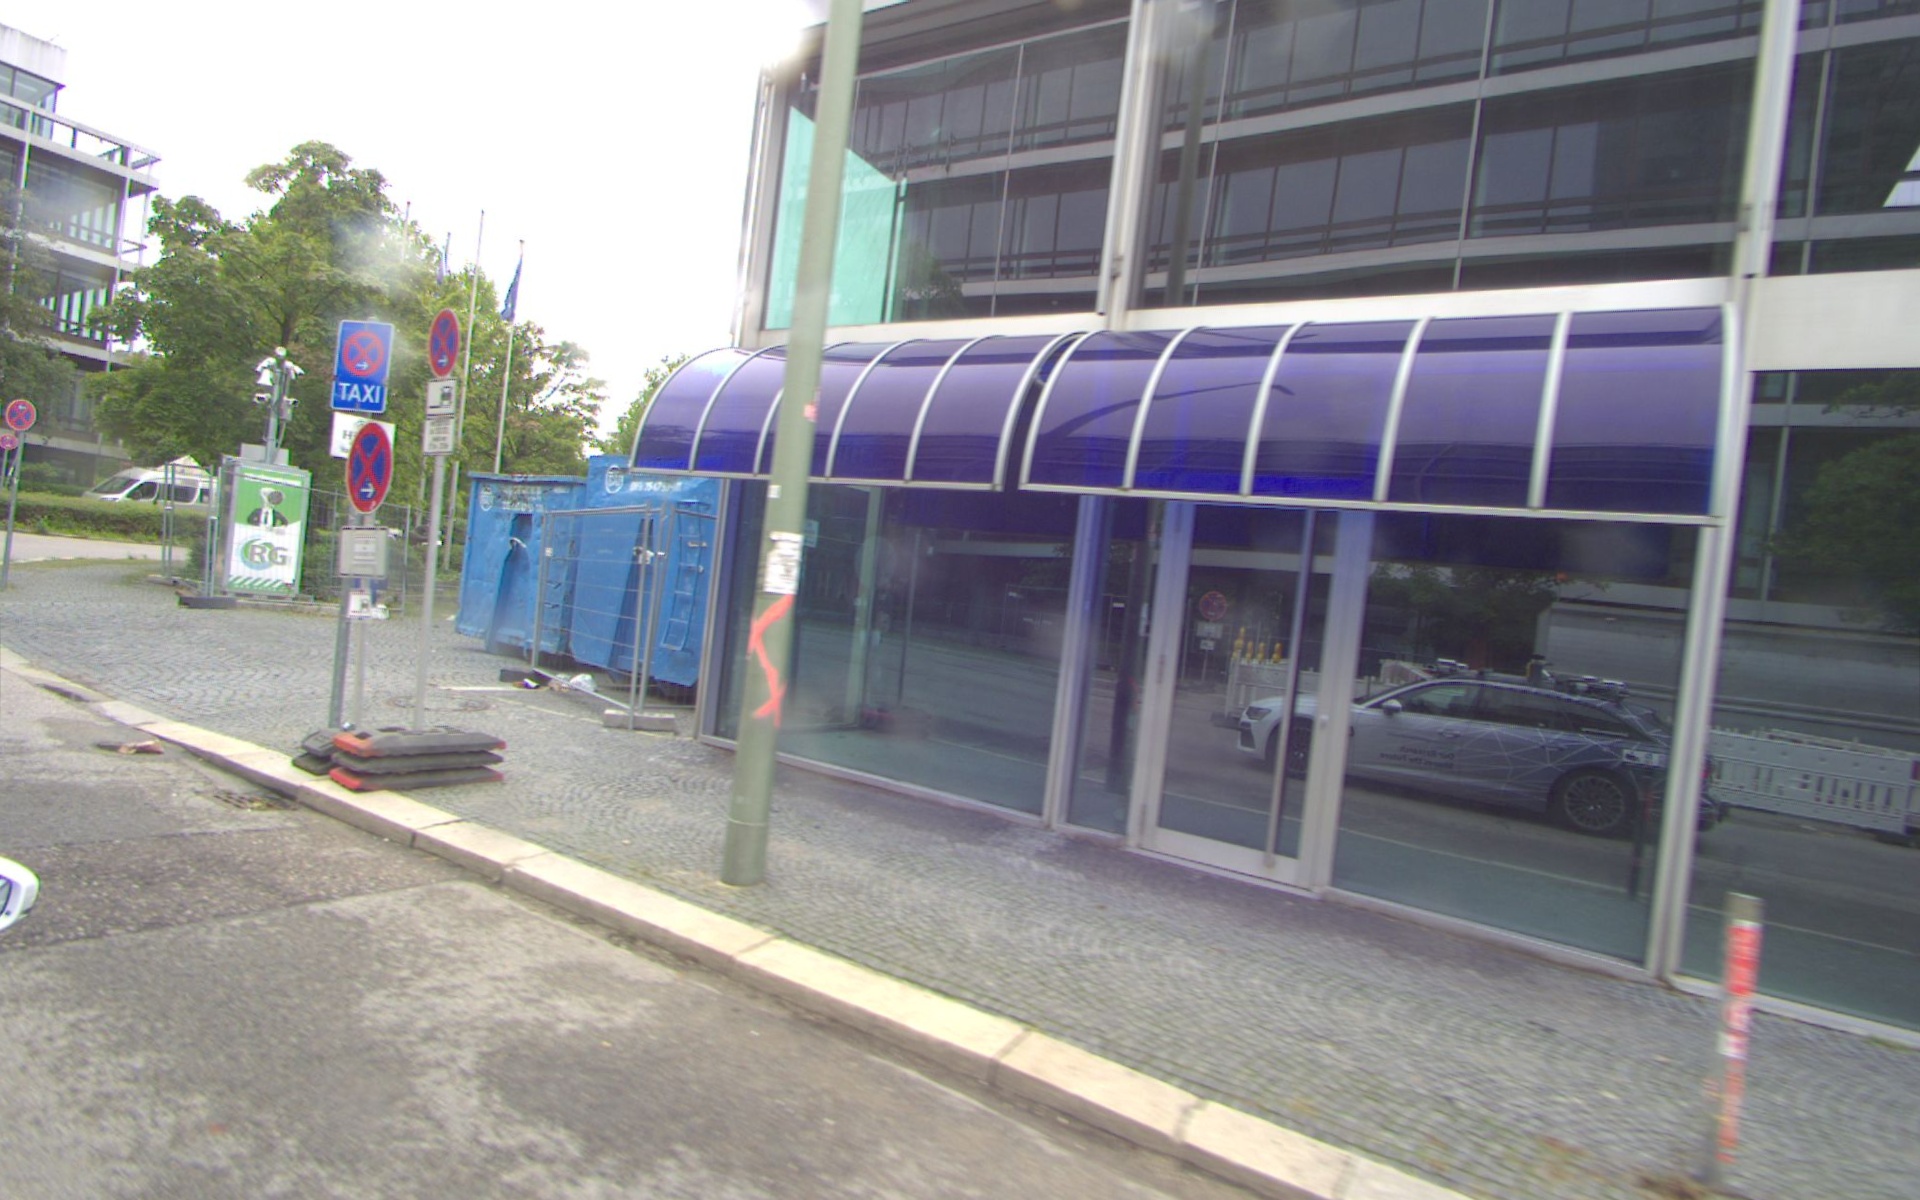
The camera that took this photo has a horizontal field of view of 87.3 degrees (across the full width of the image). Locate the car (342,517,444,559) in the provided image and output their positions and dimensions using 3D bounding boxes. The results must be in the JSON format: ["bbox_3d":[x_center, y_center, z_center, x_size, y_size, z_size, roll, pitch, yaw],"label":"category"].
[{"bbox_3d":[-28.756,-3.145,51.134,1.968,1.527,3.989,7,0,33],"label":"car"}]

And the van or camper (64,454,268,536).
[{"bbox_3d":[-33.038,-4.299,42.201,2.213,2.309,6.420,7,0,18],"label":"van or camper"}]
